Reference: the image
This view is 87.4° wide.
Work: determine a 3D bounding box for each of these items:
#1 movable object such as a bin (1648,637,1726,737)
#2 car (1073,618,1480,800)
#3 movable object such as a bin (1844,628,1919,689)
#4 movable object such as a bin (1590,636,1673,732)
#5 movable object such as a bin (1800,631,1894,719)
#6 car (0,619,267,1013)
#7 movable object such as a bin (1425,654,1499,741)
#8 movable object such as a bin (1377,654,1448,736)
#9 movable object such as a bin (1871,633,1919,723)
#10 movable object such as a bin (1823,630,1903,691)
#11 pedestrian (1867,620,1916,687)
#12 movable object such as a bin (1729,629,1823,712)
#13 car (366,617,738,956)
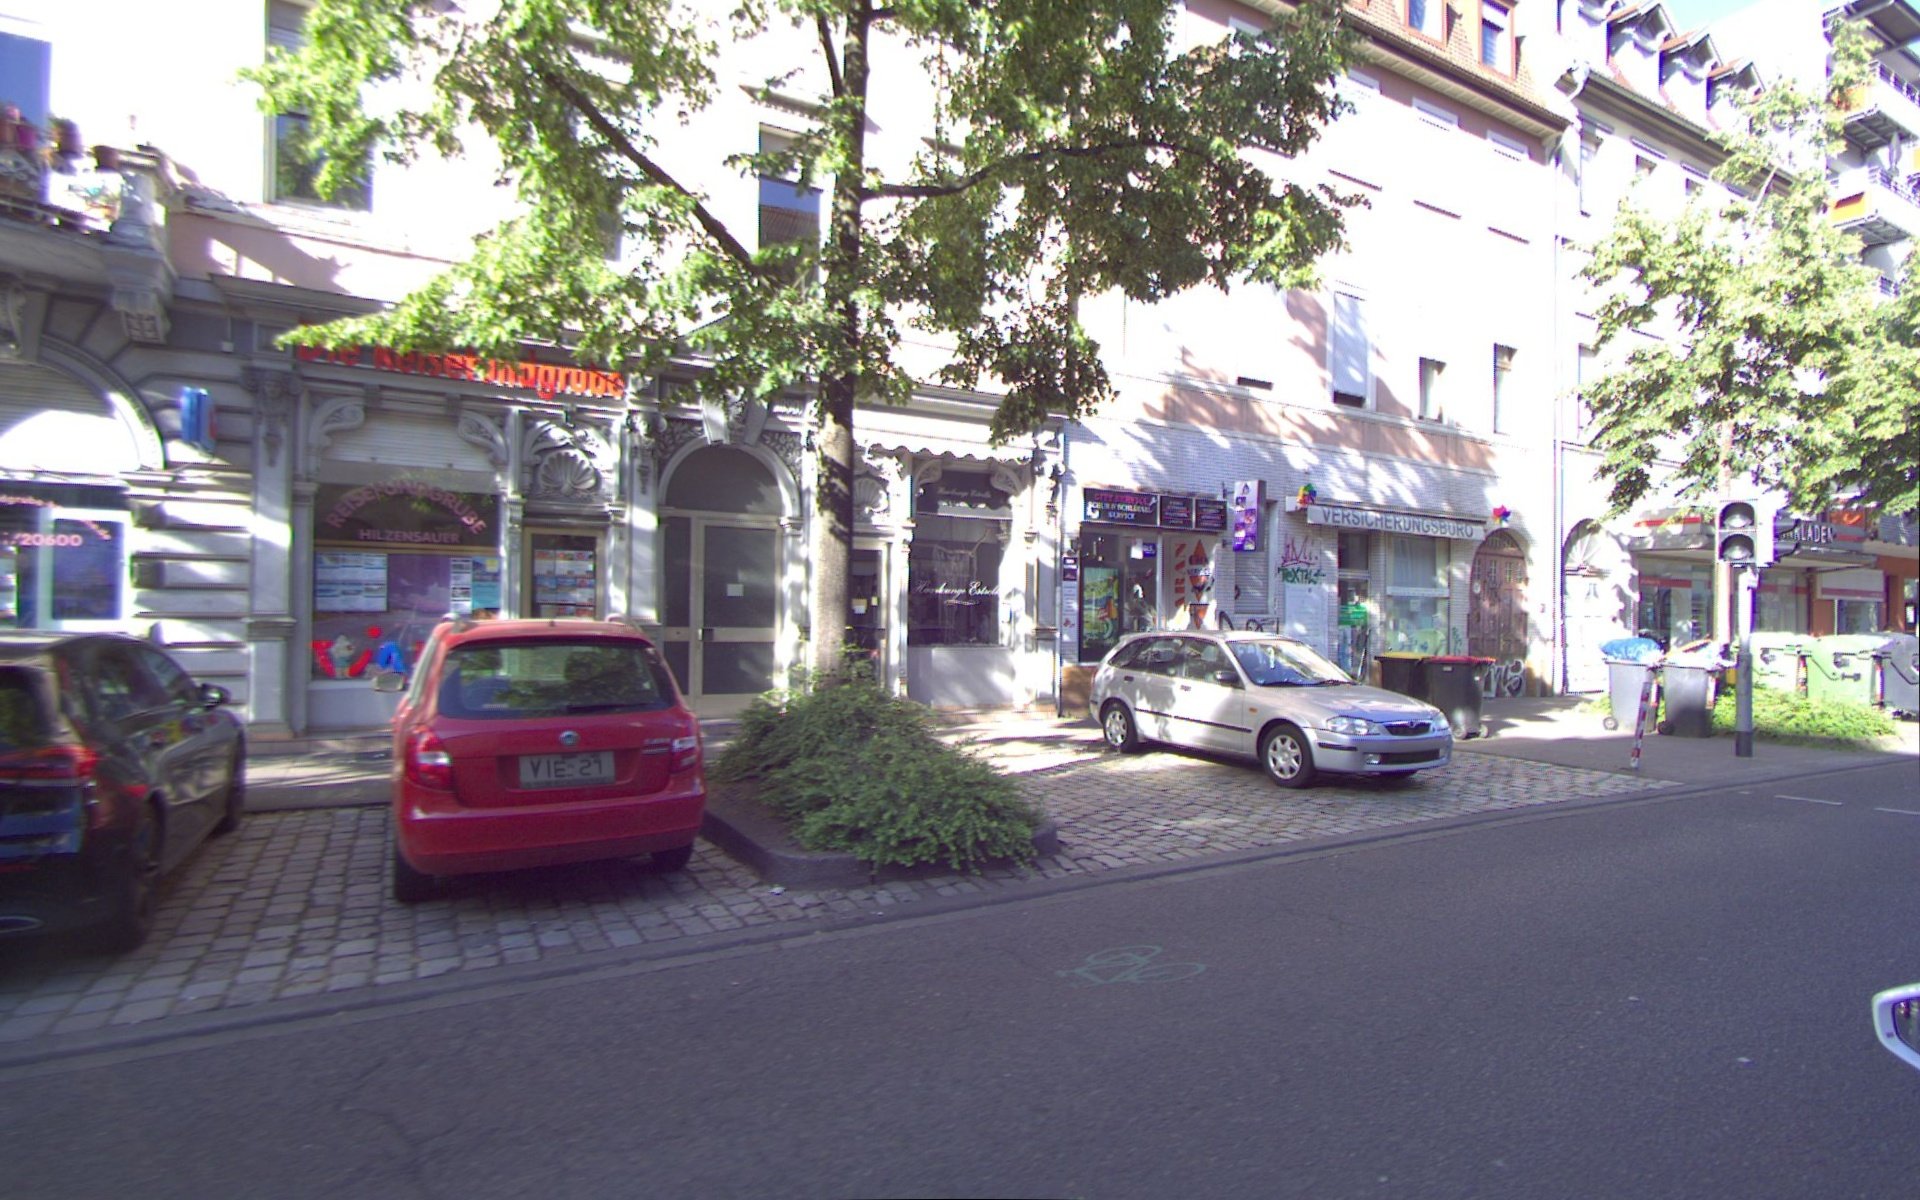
[{"bbox_3d":[10.285,1.210,14.208,0.796,1.359,0.631,1,-2,-31],"label":"movable object such as a bin"},{"bbox_3d":[3.085,0.961,10.733,1.717,1.488,4.187,1,-1,-27],"label":"car"},{"bbox_3d":[22.117,1.382,24.072,1.299,1.422,1.037,1,-2,-31],"label":"movable object such as a bin"},{"bbox_3d":[9.892,1.212,14.802,0.796,1.359,0.751,1,-2,-31],"label":"movable object such as a bin"},{"bbox_3d":[15.837,1.307,17.939,1.130,1.491,0.959,1,-1,-31],"label":"movable object such as a bin"},{"bbox_3d":[-4.975,0.848,5.266,1.767,1.448,3.825,1,-1,-28],"label":"car"},{"bbox_3d":[6.629,1.269,13.270,0.796,1.083,0.528,1,-2,-31],"label":"movable object such as a bin"},{"bbox_3d":[6.250,1.295,13.873,0.796,1.083,0.528,1,-2,-31],"label":"movable object such as a bin"},{"bbox_3d":[16.385,1.302,17.083,1.130,1.491,1.037,1,-2,-31],"label":"movable object such as a bin"},{"bbox_3d":[20.983,1.374,23.344,1.299,1.363,1.037,1,-2,-31],"label":"movable object such as a bin"},{"bbox_3d":[24.050,1.368,25.946,1.025,1.681,0.661,1,-1,-31],"label":"pedestrian"},{"bbox_3d":[15.302,1.291,18.842,1.130,1.491,1.037,1,-2,-31],"label":"movable object such as a bin"},{"bbox_3d":[-2.864,0.878,6.593,1.719,1.488,3.730,1,-1,-30],"label":"car"}]
